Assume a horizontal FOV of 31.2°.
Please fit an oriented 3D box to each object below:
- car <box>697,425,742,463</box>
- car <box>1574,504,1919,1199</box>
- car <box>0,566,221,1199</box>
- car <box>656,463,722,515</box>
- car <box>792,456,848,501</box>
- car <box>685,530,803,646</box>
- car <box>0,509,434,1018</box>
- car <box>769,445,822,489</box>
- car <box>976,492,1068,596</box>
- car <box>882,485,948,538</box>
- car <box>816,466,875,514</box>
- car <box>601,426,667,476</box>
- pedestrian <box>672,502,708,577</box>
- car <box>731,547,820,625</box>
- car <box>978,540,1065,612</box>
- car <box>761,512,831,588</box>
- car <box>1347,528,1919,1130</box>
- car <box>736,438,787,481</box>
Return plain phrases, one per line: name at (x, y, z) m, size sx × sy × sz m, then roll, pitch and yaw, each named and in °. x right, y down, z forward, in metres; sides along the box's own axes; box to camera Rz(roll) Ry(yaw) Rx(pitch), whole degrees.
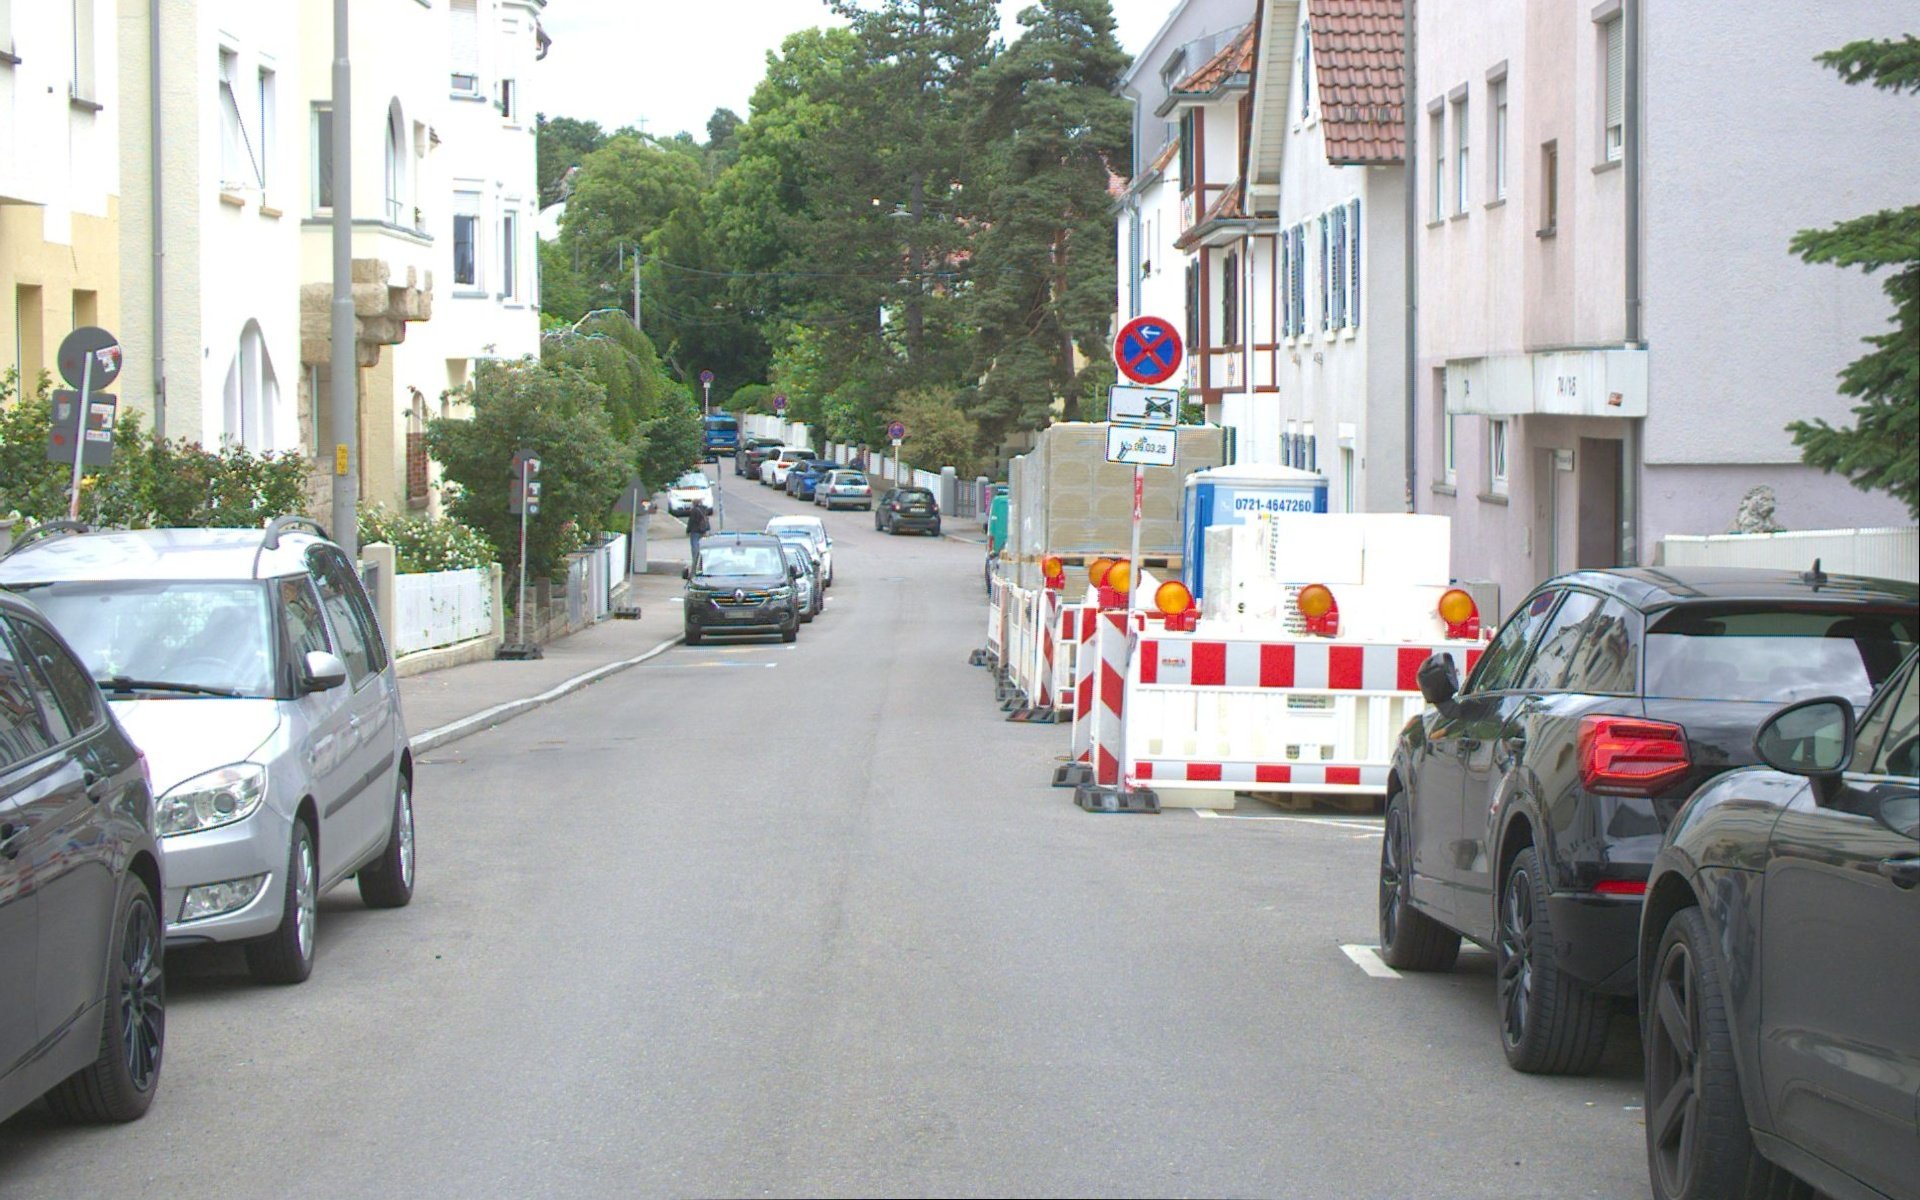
car at (-10.860, -7.042, 155.006) m, size 1.634 × 1.532 × 3.532 m, roll 1°, pitch 5°, yaw -10°
car at (2.453, 0.647, 6.107) m, size 1.713 × 1.591 × 4.499 m, roll 1°, pitch 2°, yaw -2°
car at (-2.984, 0.677, 7.413) m, size 1.845 × 1.452 × 4.505 m, roll -1°, pitch 1°, yaw -1°
car at (-9.600, -3.937, 121.507) m, size 1.672 × 1.651 × 3.865 m, roll -2°, pitch 4°, yaw -14°
car at (-5.250, -4.556, 128.690) m, size 1.634 × 1.478 × 3.532 m, roll 1°, pitch 5°, yaw -10°
car at (-3.590, -0.241, 57.105) m, size 1.844 × 1.809 × 4.545 m, roll -1°, pitch 1°, yaw -4°
car at (-3.167, 0.498, 13.143) m, size 1.844 × 1.625 × 4.287 m, roll 0°, pitch 1°, yaw -3°
car at (-6.450, -5.222, 134.752) m, size 1.634 × 1.532 × 3.532 m, roll 1°, pitch 5°, yaw -10°
car at (1.449, -1.370, 82.144) m, size 1.980 × 2.354 × 4.278 m, roll 0°, pitch 2°, yaw -2°
car at (-1.484, -2.890, 112.052) m, size 1.634 × 1.478 × 3.532 m, roll 1°, pitch 5°, yaw -9°
car at (-4.142, -3.979, 124.081) m, size 1.634 × 1.478 × 3.532 m, roll 1°, pitch 5°, yaw -10°
car at (-13.317, -6.073, 140.078) m, size 1.903 × 1.870 × 4.597 m, roll -2°, pitch 4°, yaw -15°
pedestrian at (-7.031, -1.584, 89.534) m, size 0.791 × 1.926 × 0.919 m, roll 1°, pitch 2°, yaw 2°
car at (-3.600, -0.293, 67.494) m, size 1.642 × 1.412 × 3.984 m, roll -1°, pitch 2°, yaw -2°
car at (1.321, -0.548, 75.550) m, size 1.725 × 1.443 × 3.881 m, roll 0°, pitch 2°, yaw -2°
car at (-4.074, -1.268, 85.797) m, size 1.672 × 1.651 × 3.864 m, roll -1°, pitch 4°, yaw -2°
car at (2.392, 0.580, 11.233) m, size 1.715 × 1.560 × 4.073 m, roll 1°, pitch 2°, yaw -1°
car at (-8.123, -5.749, 140.500) m, size 1.634 × 1.532 × 3.532 m, roll 1°, pitch 5°, yaw -10°
